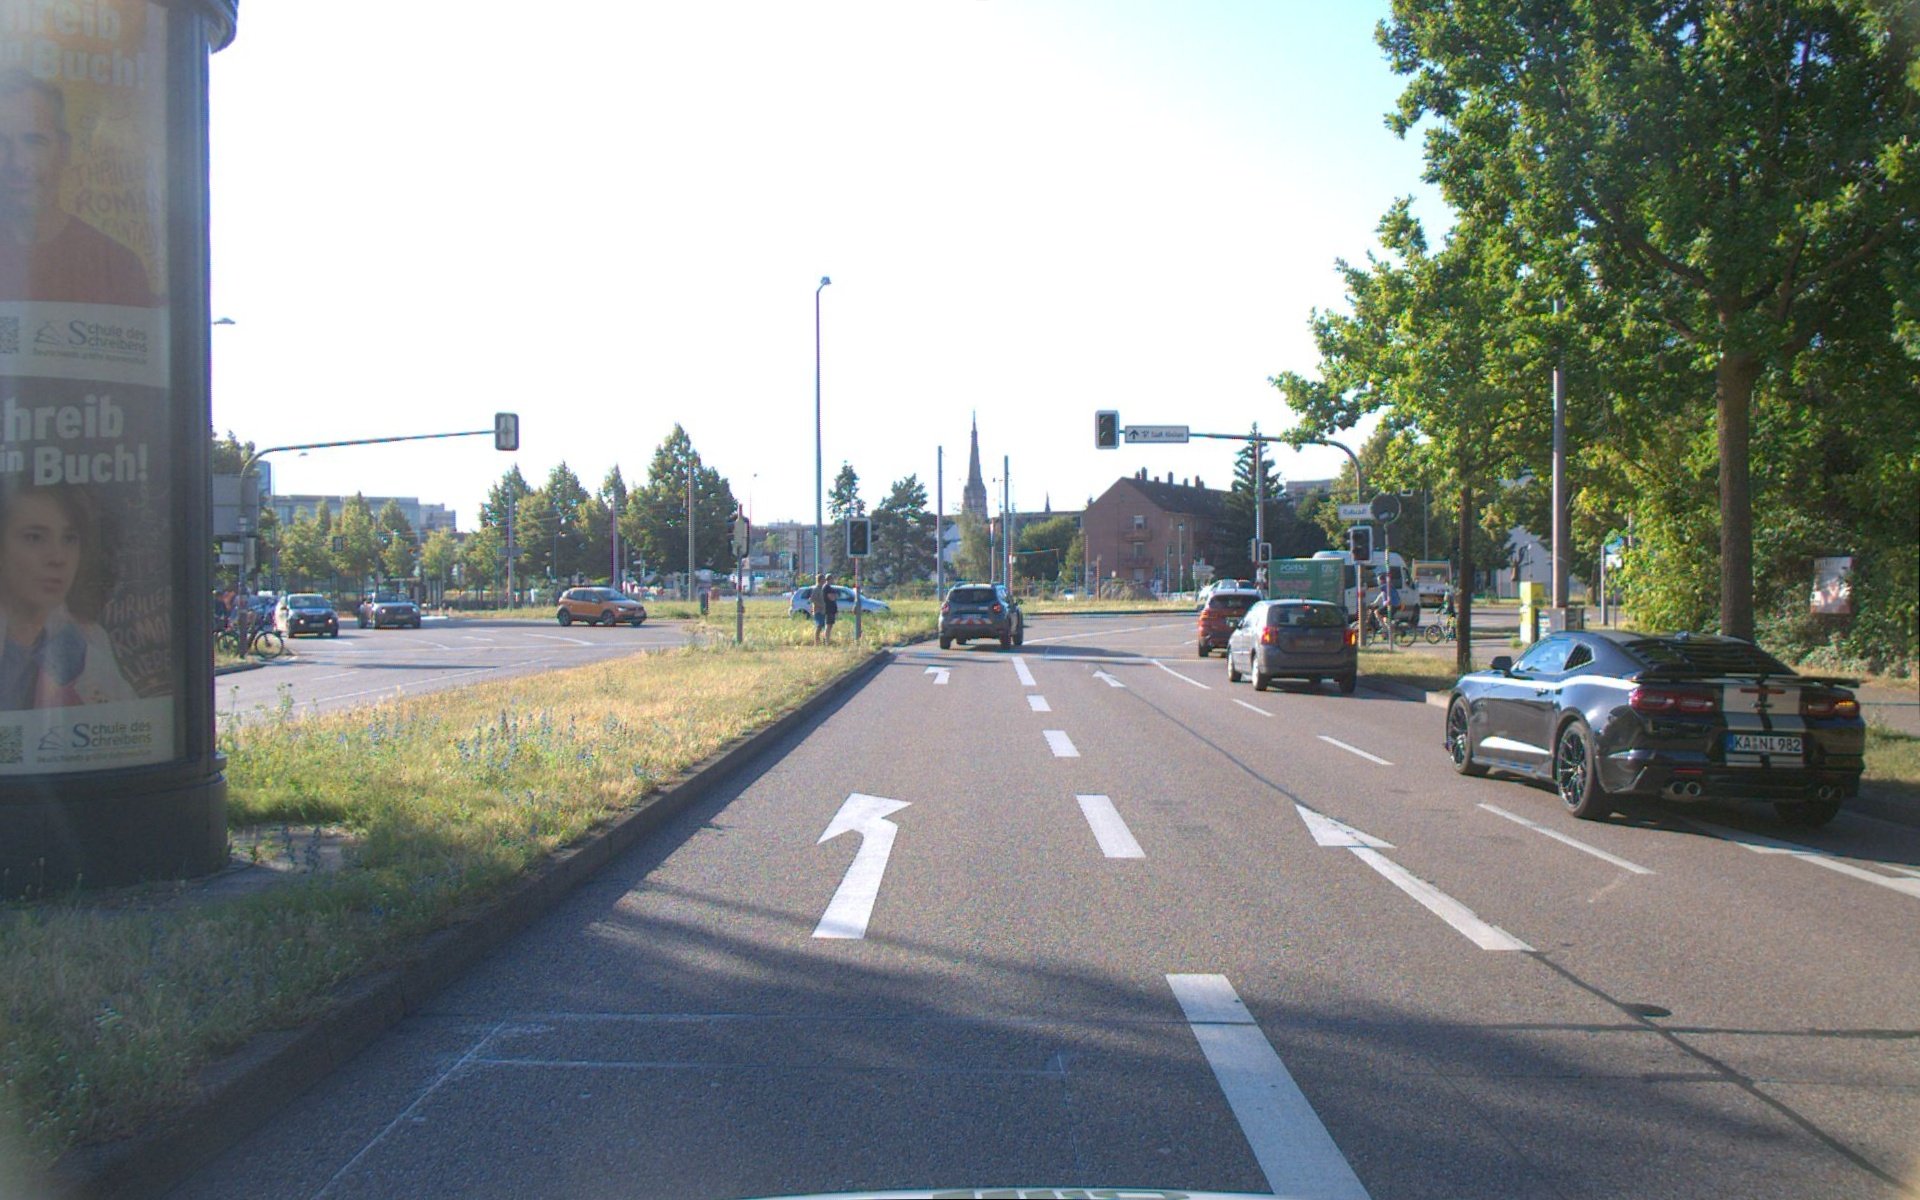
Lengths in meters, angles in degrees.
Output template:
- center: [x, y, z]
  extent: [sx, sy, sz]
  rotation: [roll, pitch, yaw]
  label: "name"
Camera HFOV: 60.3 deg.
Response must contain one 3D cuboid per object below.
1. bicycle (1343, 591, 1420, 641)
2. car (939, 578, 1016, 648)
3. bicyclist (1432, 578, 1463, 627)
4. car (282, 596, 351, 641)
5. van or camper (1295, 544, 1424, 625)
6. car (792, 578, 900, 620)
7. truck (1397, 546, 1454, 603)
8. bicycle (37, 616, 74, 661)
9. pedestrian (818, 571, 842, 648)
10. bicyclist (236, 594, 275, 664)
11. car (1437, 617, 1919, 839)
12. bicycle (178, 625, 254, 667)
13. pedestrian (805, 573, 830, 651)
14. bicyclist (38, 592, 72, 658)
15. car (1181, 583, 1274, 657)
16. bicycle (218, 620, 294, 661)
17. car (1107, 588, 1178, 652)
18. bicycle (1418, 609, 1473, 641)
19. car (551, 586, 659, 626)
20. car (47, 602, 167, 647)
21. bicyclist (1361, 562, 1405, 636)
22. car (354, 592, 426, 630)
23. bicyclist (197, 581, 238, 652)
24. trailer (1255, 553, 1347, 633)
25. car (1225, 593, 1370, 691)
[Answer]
- center: [11.214, 0.425, 44.047]
  extent: [1.873, 1.266, 0.606]
  rotation: [-2, 0, 37]
  label: "bicycle"
- center: [0.434, 0.314, 42.918]
  extent: [1.866, 1.689, 4.000]
  rotation: [-1, 0, 0]
  label: "car"
- center: [13.353, 0.067, 45.318]
  extent: [0.638, 1.317, 0.464]
  rotation: [-2, 1, -17]
  label: "bicyclist"
- center: [-22.992, 0.643, 59.016]
  extent: [1.651, 1.466, 3.577]
  rotation: [-2, 1, -31]
  label: "car"
- center: [14.059, -0.562, 57.862]
  extent: [2.245, 2.675, 6.561]
  rotation: [1, 1, 34]
  label: "van or camper"
- center: [-4.229, -0.043, 61.487]
  extent: [3.667, 1.459, 1.837]
  rotation: [-1, 1, 9]
  label: "car"
- center: [22.273, -1.211, 79.313]
  extent: [2.525, 2.602, 6.256]
  rotation: [-1, 1, 15]
  label: "truck"
- center: [-23.677, 0.990, 43.302]
  extent: [0.714, 1.138, 1.809]
  rotation: [-1, 0, -25]
  label: "bicycle"
- center: [-3.221, 0.234, 40.945]
  extent: [0.475, 1.876, 0.672]
  rotation: [-1, 0, 4]
  label: "pedestrian"
- center: [-18.606, 0.751, 43.667]
  extent: [0.795, 1.820, 0.497]
  rotation: [1, 0, 8]
  label: "bicyclist"
- center: [5.400, 0.865, 13.176]
  extent: [1.816, 1.361, 4.624]
  rotation: [2, 0, 0]
  label: "car"
- center: [-19.047, 1.171, 42.342]
  extent: [1.868, 1.037, 0.505]
  rotation: [0, 0, 16]
  label: "bicycle"
- center: [-3.446, 0.287, 39.973]
  extent: [0.475, 1.876, 0.720]
  rotation: [-1, 0, 3]
  label: "pedestrian"
- center: [-23.634, 0.650, 43.188]
  extent: [0.699, 1.695, 0.824]
  rotation: [-1, 0, -25]
  label: "bicyclist"
- center: [6.483, 0.454, 40.420]
  extent: [1.711, 1.649, 3.820]
  rotation: [2, 1, 1]
  label: "car"
- center: [-18.620, 1.066, 43.752]
  extent: [1.868, 1.037, 0.505]
  rotation: [0, 0, 8]
  label: "bicycle"
- center: [4.969, 0.500, 45.357]
  extent: [1.569, 1.638, 4.001]
  rotation: [-1, 1, 1]
  label: "car"
- center: [13.293, 0.681, 45.290]
  extent: [1.436, 0.800, 0.438]
  rotation: [-2, 1, -17]
  label: "bicycle"
- center: [-13.909, 0.241, 64.738]
  extent: [4.055, 1.470, 1.903]
  rotation: [-1, 1, 35]
  label: "car"
- center: [-31.854, 0.902, 61.847]
  extent: [3.917, 1.534, 1.832]
  rotation: [-1, 1, -27]
  label: "car"
- center: [11.263, -0.034, 43.999]
  extent: [0.921, 1.932, 0.599]
  rotation: [-2, 0, 37]
  label: "bicyclist"
- center: [-22.994, 0.446, 66.664]
  extent: [1.654, 1.400, 4.097]
  rotation: [-3, 1, -35]
  label: "car"
- center: [-19.005, 0.417, 42.334]
  extent: [0.796, 1.801, 0.496]
  rotation: [1, 0, 16]
  label: "bicyclist"
- center: [10.919, -0.236, 52.774]
  extent: [2.049, 2.442, 3.498]
  rotation: [1, 0, 26]
  label: "trailer"
- center: [5.674, 0.662, 28.204]
  extent: [1.711, 1.499, 3.820]
  rotation: [-1, 1, 0]
  label: "car"
